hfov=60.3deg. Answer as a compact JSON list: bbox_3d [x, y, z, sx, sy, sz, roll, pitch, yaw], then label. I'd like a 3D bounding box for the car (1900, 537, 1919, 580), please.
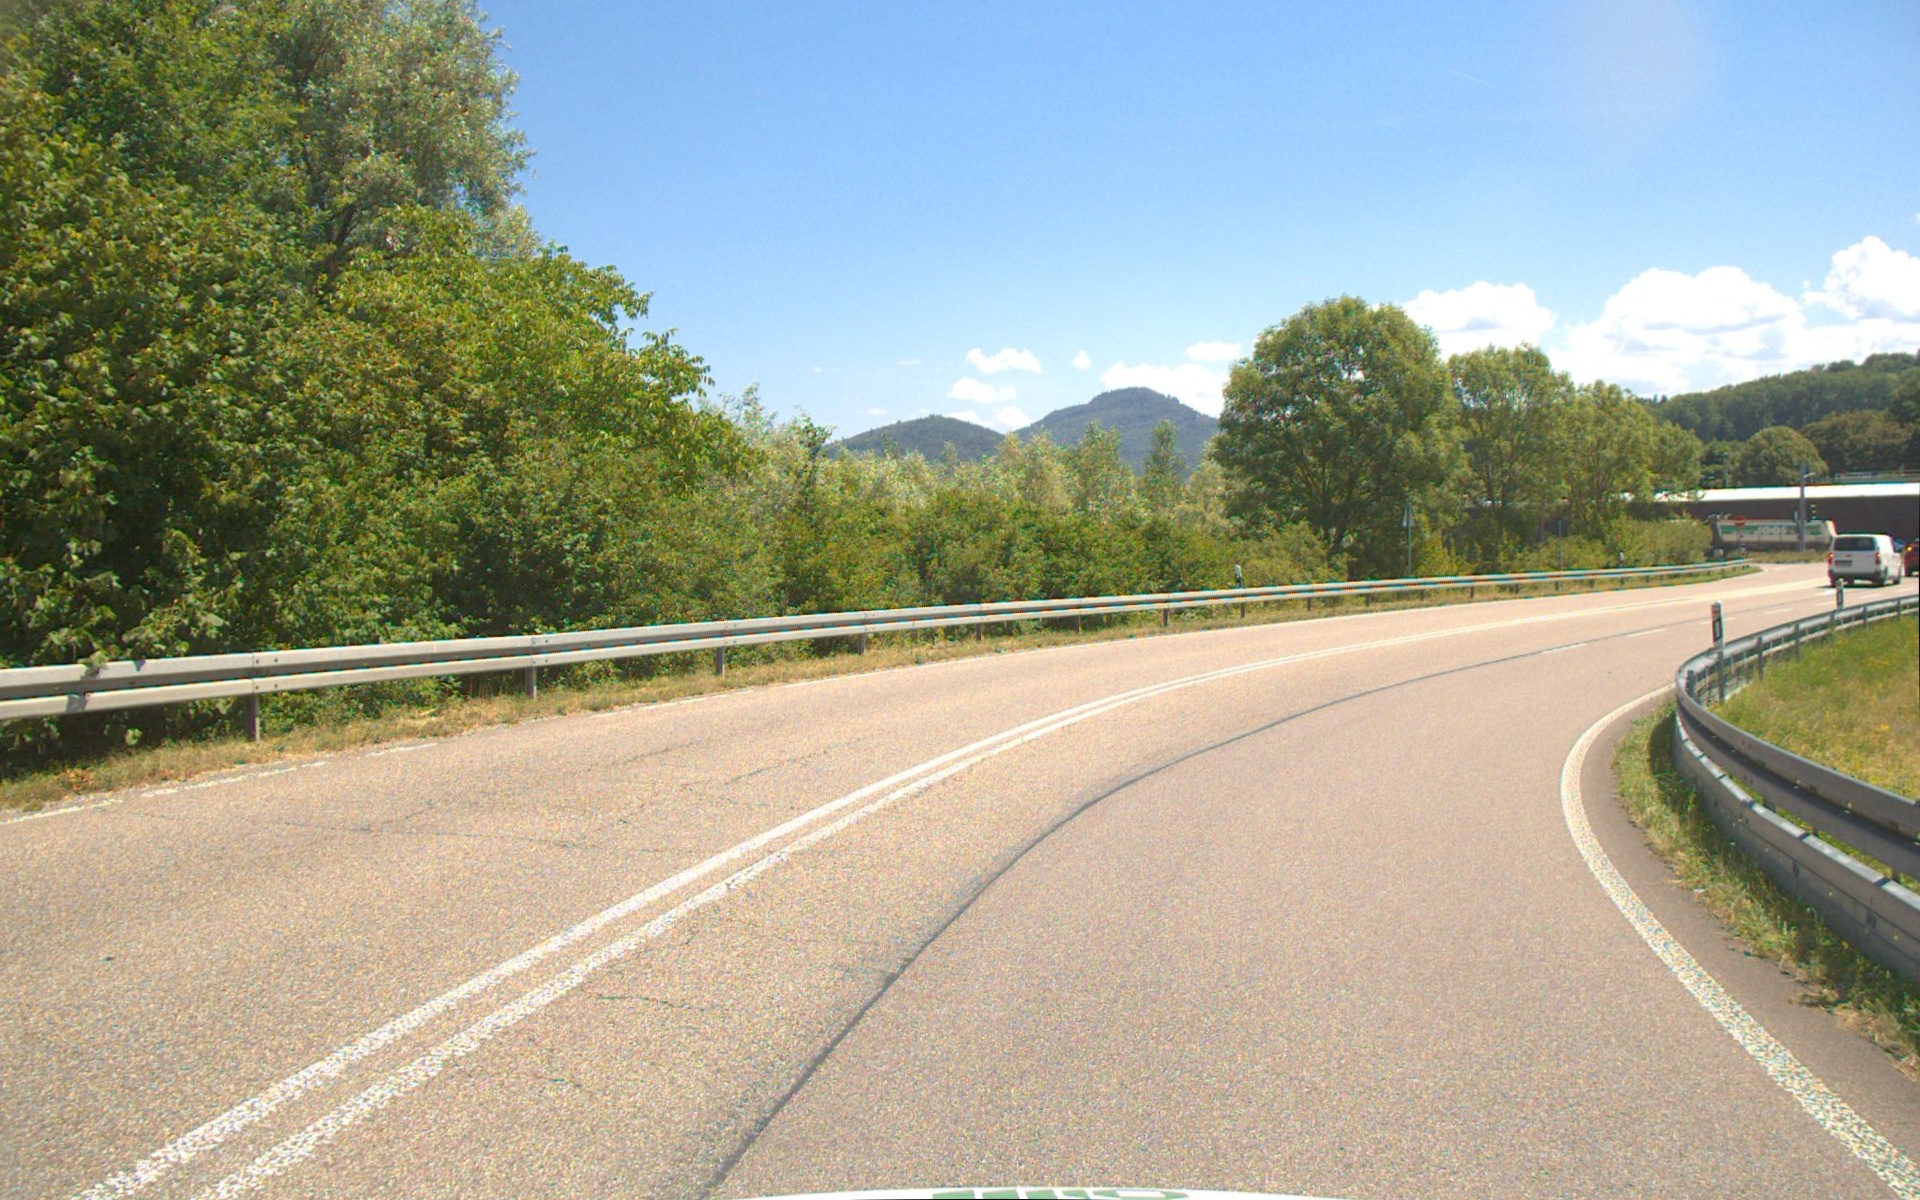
[{"bbox_3d":[42.823,-1.860,72.659,1.963,1.843,3.979,-1,1,40],"label":"car"}]

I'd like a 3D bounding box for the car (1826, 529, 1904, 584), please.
[{"bbox_3d":[34.237,-1.683,62.512,1.842,1.998,3.980,1,3,40],"label":"car"}]
